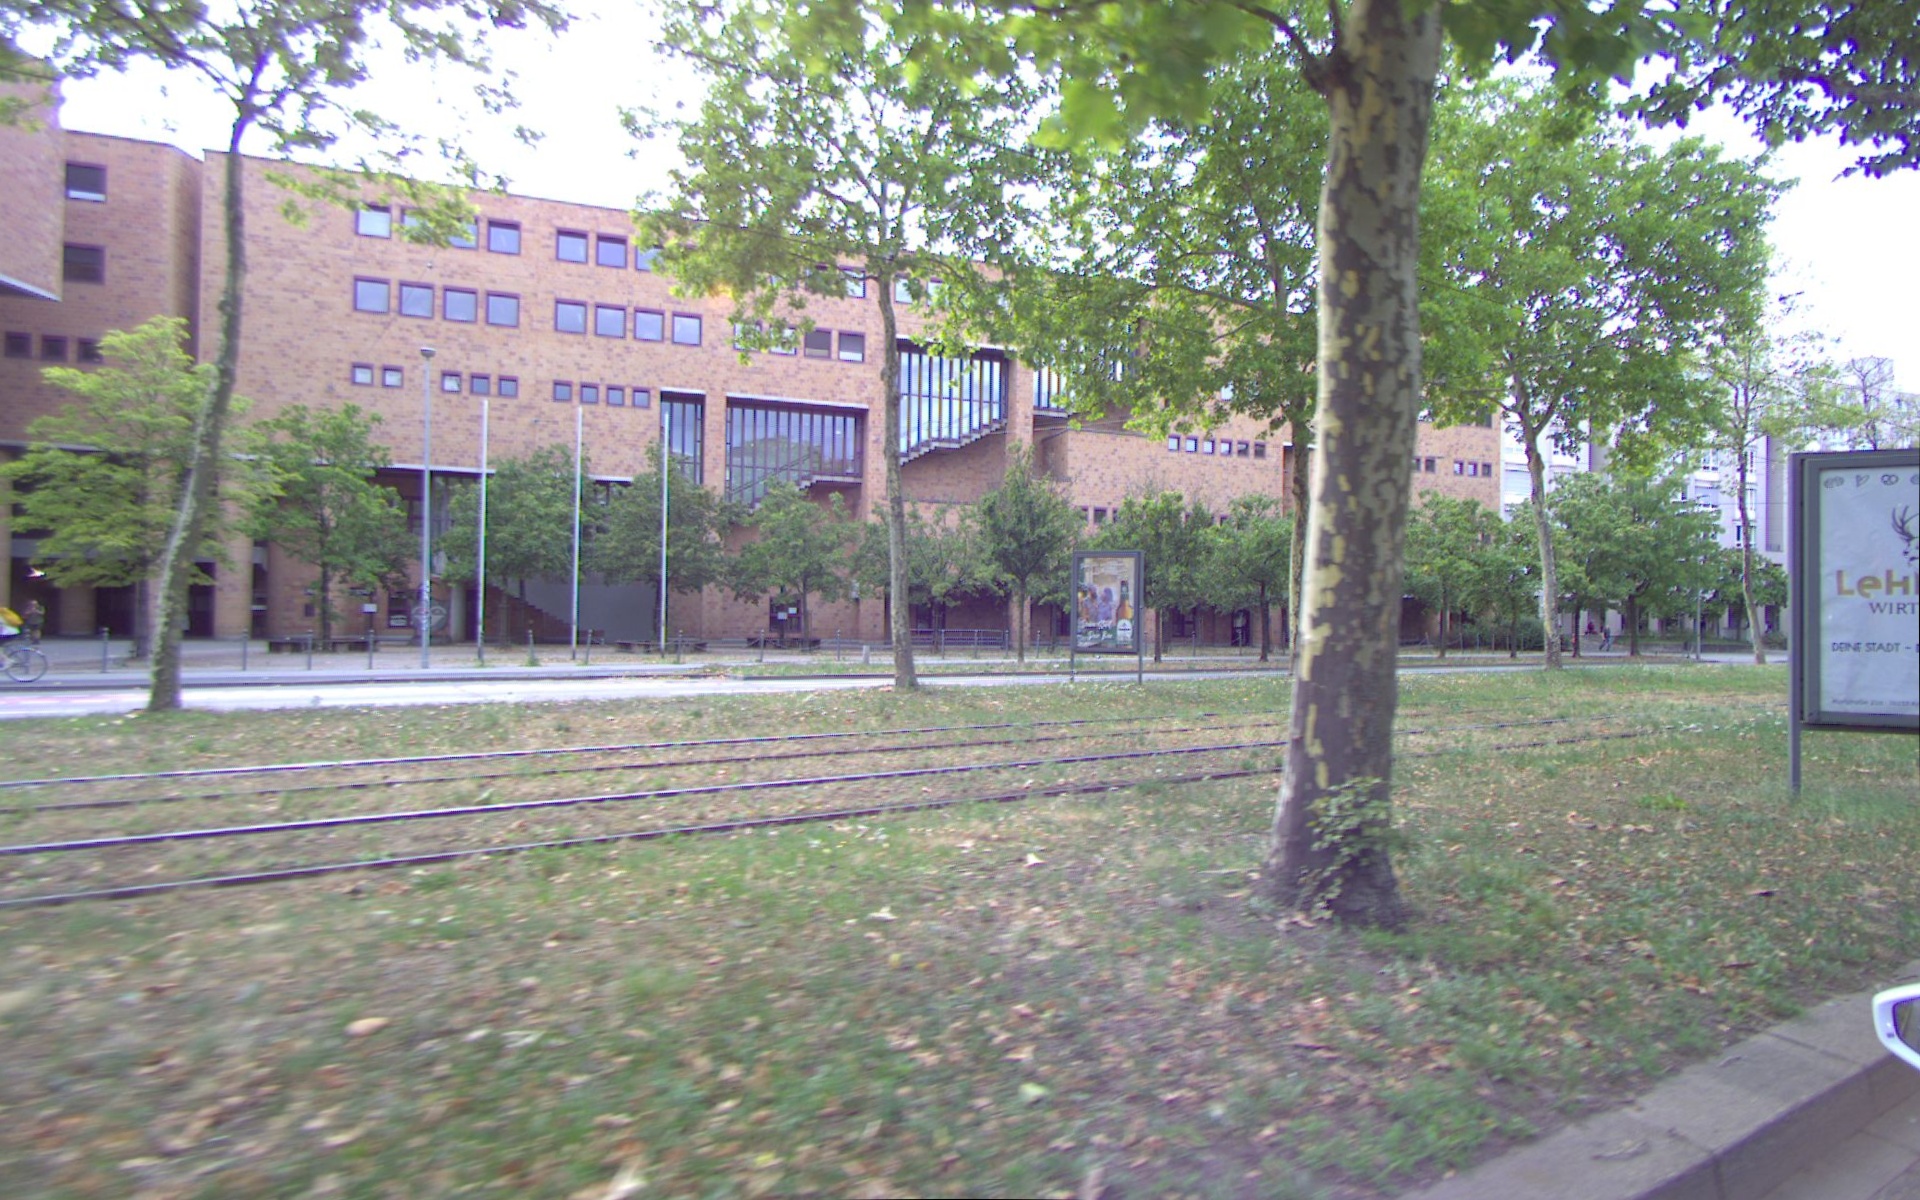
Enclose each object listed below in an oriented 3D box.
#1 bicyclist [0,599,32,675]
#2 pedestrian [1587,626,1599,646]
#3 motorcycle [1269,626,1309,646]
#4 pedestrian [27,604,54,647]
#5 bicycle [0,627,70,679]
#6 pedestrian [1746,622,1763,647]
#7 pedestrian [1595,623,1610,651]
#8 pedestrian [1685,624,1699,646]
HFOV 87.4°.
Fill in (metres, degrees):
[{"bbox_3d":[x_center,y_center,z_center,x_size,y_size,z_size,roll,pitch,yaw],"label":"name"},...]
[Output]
[{"bbox_3d":[-20.636,0.783,21.486,0.972,1.612,0.661,1,-1,-28],"label":"bicyclist"},{"bbox_3d":[43.354,2.448,68.824,0.546,1.340,0.457,1,-1,-19],"label":"pedestrian"},{"bbox_3d":[20.181,2.188,61.632,2.162,1.207,0.794,0,-1,37],"label":"motorcycle"},{"bbox_3d":[-32.904,0.909,35.961,0.511,1.552,0.507,1,-1,-15],"label":"pedestrian"},{"bbox_3d":[-20.536,1.125,21.534,2.067,1.099,0.665,1,-1,-28],"label":"bicycle"},{"bbox_3d":[59.059,2.548,74.695,0.682,1.833,0.768,1,-1,-20],"label":"pedestrian"},{"bbox_3d":[39.837,2.283,62.295,0.618,1.728,0.551,1,-1,-26],"label":"pedestrian"},{"bbox_3d":[55.535,2.656,76.220,0.650,1.694,0.635,1,-1,-21],"label":"pedestrian"}]
